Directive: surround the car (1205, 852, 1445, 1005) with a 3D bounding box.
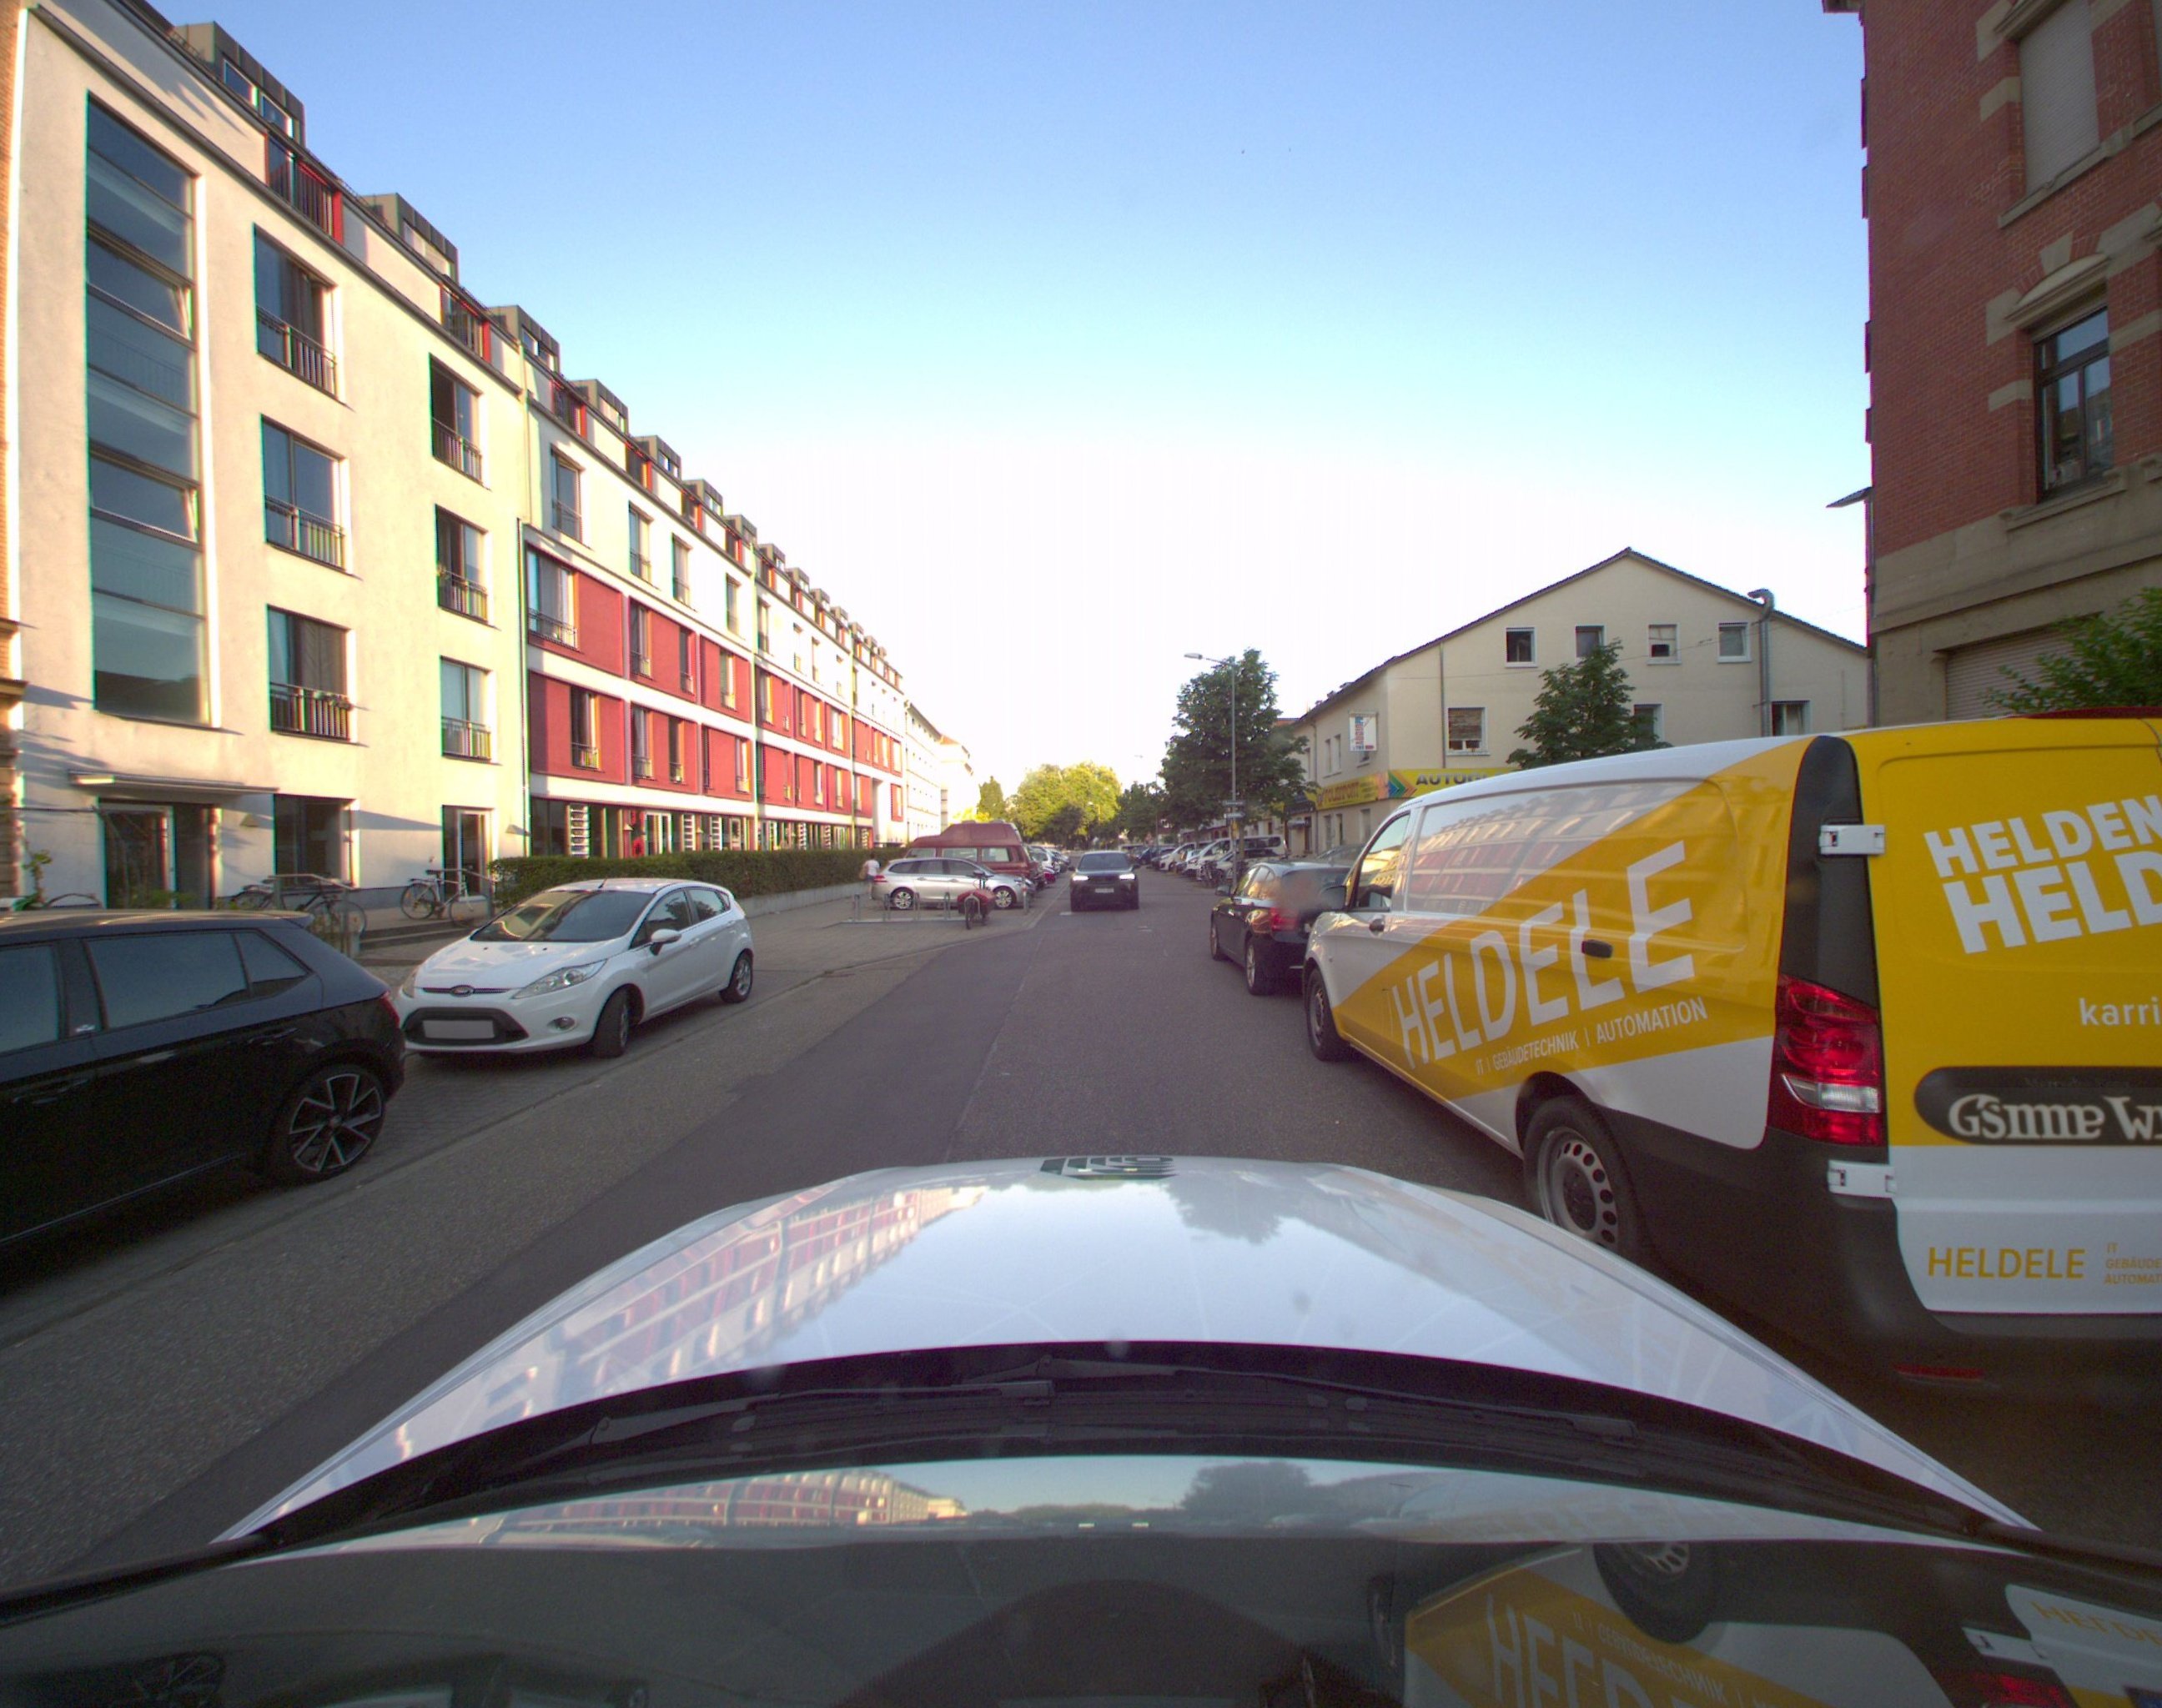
[{"bbox_3d":[2.642,0.699,9.847,1.715,1.424,4.254,0,0,1],"label":"car"}]

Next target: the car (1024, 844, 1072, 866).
[{"bbox_3d":[-3.144,0.110,79.121,4.517,2.134,2.001,0,0,1],"label":"car"}]

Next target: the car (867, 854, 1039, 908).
[{"bbox_3d":[-3.513,0.727,23.041,4.604,1.460,1.879,0,0,-2],"label":"car"}]

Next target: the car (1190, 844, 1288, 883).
[{"bbox_3d":[6.979,0.387,36.204,3.907,1.451,1.767,-3,0,-2],"label":"car"}]

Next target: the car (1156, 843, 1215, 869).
[{"bbox_3d":[8.194,0.142,63.995,4.303,1.804,1.810,-3,0,-1],"label":"car"}]

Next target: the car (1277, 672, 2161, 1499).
[{"bbox_3d":[2.585,0.505,4.406,1.886,1.884,5.083,-1,0,1],"label":"car"}]

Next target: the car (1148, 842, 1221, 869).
[{"bbox_3d":[7.448,0.113,59.099,4.929,1.689,2.076,-3,0,-1],"label":"car"}]

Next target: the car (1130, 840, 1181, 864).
[{"bbox_3d":[7.016,-0.181,76.594,4.470,1.911,1.686,-3,0,-4],"label":"car"}]

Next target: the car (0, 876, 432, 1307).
[{"bbox_3d":[-4.880,0.929,3.067,1.697,1.534,3.845,-1,0,1],"label":"car"}]

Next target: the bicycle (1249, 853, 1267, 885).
[{"bbox_3d":[6.941,0.565,31.917,0.384,1.200,1.482,-2,0,2],"label":"bicycle"}]

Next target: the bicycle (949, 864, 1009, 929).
[{"bbox_3d":[-2.161,0.868,17.719,0.804,1.221,2.867,0,0,3],"label":"bicycle"}]

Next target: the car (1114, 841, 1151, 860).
[{"bbox_3d":[5.810,-0.357,92.321,3.960,1.911,2.047,-3,0,-4],"label":"car"}]

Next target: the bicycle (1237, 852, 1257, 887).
[{"bbox_3d":[6.527,0.590,32.081,0.384,1.304,2.018,-2,0,2],"label":"bicycle"}]

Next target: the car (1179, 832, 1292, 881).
[{"bbox_3d":[7.312,0.108,38.985,4.971,1.983,2.221,-3,0,1],"label":"car"}]

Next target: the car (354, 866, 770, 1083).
[{"bbox_3d":[-4.683,0.935,8.165,1.646,1.530,4.015,-1,0,-1],"label":"car"}]

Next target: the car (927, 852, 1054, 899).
[{"bbox_3d":[-3.052,0.717,28.182,4.196,1.538,1.790,0,0,-1],"label":"car"}]

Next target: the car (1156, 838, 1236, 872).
[{"bbox_3d":[7.589,0.046,54.199,4.929,1.958,2.049,-3,0,-1],"label":"car"}]

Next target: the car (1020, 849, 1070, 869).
[{"bbox_3d":[-3.118,0.398,71.709,4.241,1.714,2.001,0,0,1],"label":"car"}]

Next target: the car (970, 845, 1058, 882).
[{"bbox_3d":[-3.319,0.477,41.221,4.241,1.836,2.001,0,0,1],"label":"car"}]

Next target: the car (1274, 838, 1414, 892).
[{"bbox_3d":[8.569,0.325,26.816,4.035,1.514,1.757,-3,2,2],"label":"car"}]

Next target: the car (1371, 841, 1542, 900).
[{"bbox_3d":[10.187,0.424,22.281,3.912,1.455,1.659,-2,1,3],"label":"car"}]

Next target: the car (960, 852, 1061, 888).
[{"bbox_3d":[-3.039,0.682,35.794,4.193,1.490,1.850,0,0,1],"label":"car"}]

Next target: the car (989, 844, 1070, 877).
[{"bbox_3d":[-3.167,0.395,50.605,4.833,2.021,1.907,0,0,1],"label":"car"}]

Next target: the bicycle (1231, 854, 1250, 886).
[{"bbox_3d":[6.266,0.607,32.076,0.384,1.200,2.018,-2,0,2],"label":"bicycle"}]

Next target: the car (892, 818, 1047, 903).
[{"bbox_3d":[-3.425,0.181,25.617,4.493,2.584,2.001,0,0,2],"label":"car"}]

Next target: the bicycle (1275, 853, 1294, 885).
[{"bbox_3d":[7.946,0.578,31.858,0.351,1.200,1.482,-2,0,2],"label":"bicycle"}]

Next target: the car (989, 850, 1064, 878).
[{"bbox_3d":[-3.153,0.579,48.049,4.241,1.652,1.888,0,0,1],"label":"car"}]

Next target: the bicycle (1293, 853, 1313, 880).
[{"bbox_3d":[8.709,0.488,31.971,0.386,1.017,1.482,-2,0,2],"label":"bicycle"}]

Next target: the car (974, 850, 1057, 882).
[{"bbox_3d":[-3.442,0.605,43.696,4.241,1.660,2.001,0,0,1],"label":"car"}]

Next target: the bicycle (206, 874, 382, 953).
[{"bbox_3d":[-11.940,0.883,12.400,1.908,1.141,0.812,0,0,2],"label":"bicycle"}]

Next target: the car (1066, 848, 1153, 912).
[{"bbox_3d":[0.867,0.631,22.189,1.768,1.517,4.011,-3,0,10],"label":"car"}]

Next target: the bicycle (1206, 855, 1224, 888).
[{"bbox_3d":[5.275,0.673,32.075,0.384,1.200,2.018,-2,0,2],"label":"bicycle"}]

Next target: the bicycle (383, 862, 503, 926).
[{"bbox_3d":[-11.748,0.720,15.022,1.768,1.148,0.611,0,0,3],"label":"bicycle"}]

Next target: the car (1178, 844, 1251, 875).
[{"bbox_3d":[7.657,0.285,46.961,3.897,1.526,1.940,-3,0,2],"label":"car"}]

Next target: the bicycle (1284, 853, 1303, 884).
[{"bbox_3d":[8.307,0.556,31.933,0.351,1.143,1.482,-2,0,2],"label":"bicycle"}]

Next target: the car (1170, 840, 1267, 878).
[{"bbox_3d":[7.436,0.244,44.330,4.925,1.742,2.050,-3,0,2],"label":"car"}]

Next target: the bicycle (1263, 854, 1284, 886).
[{"bbox_3d":[7.519,0.605,31.875,0.443,1.200,1.482,-2,0,2],"label":"bicycle"}]

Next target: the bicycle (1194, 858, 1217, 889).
[{"bbox_3d":[4.856,0.741,31.895,0.437,1.130,2.014,-2,0,-4],"label":"bicycle"}]

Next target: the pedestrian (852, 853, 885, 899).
[{"bbox_3d":[-7.009,0.719,26.892,0.829,1.501,0.798,0,0,2],"label":"pedestrian"}]

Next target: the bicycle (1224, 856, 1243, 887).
[{"bbox_3d":[5.984,0.674,32.095,0.384,1.114,2.018,-2,0,2],"label":"bicycle"}]

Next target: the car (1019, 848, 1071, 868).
[{"bbox_3d":[-3.015,0.327,68.965,4.243,1.622,2.000,0,0,0],"label":"car"}]

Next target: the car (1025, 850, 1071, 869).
[{"bbox_3d":[-3.058,0.498,76.483,4.241,1.749,2.001,0,0,1],"label":"car"}]
